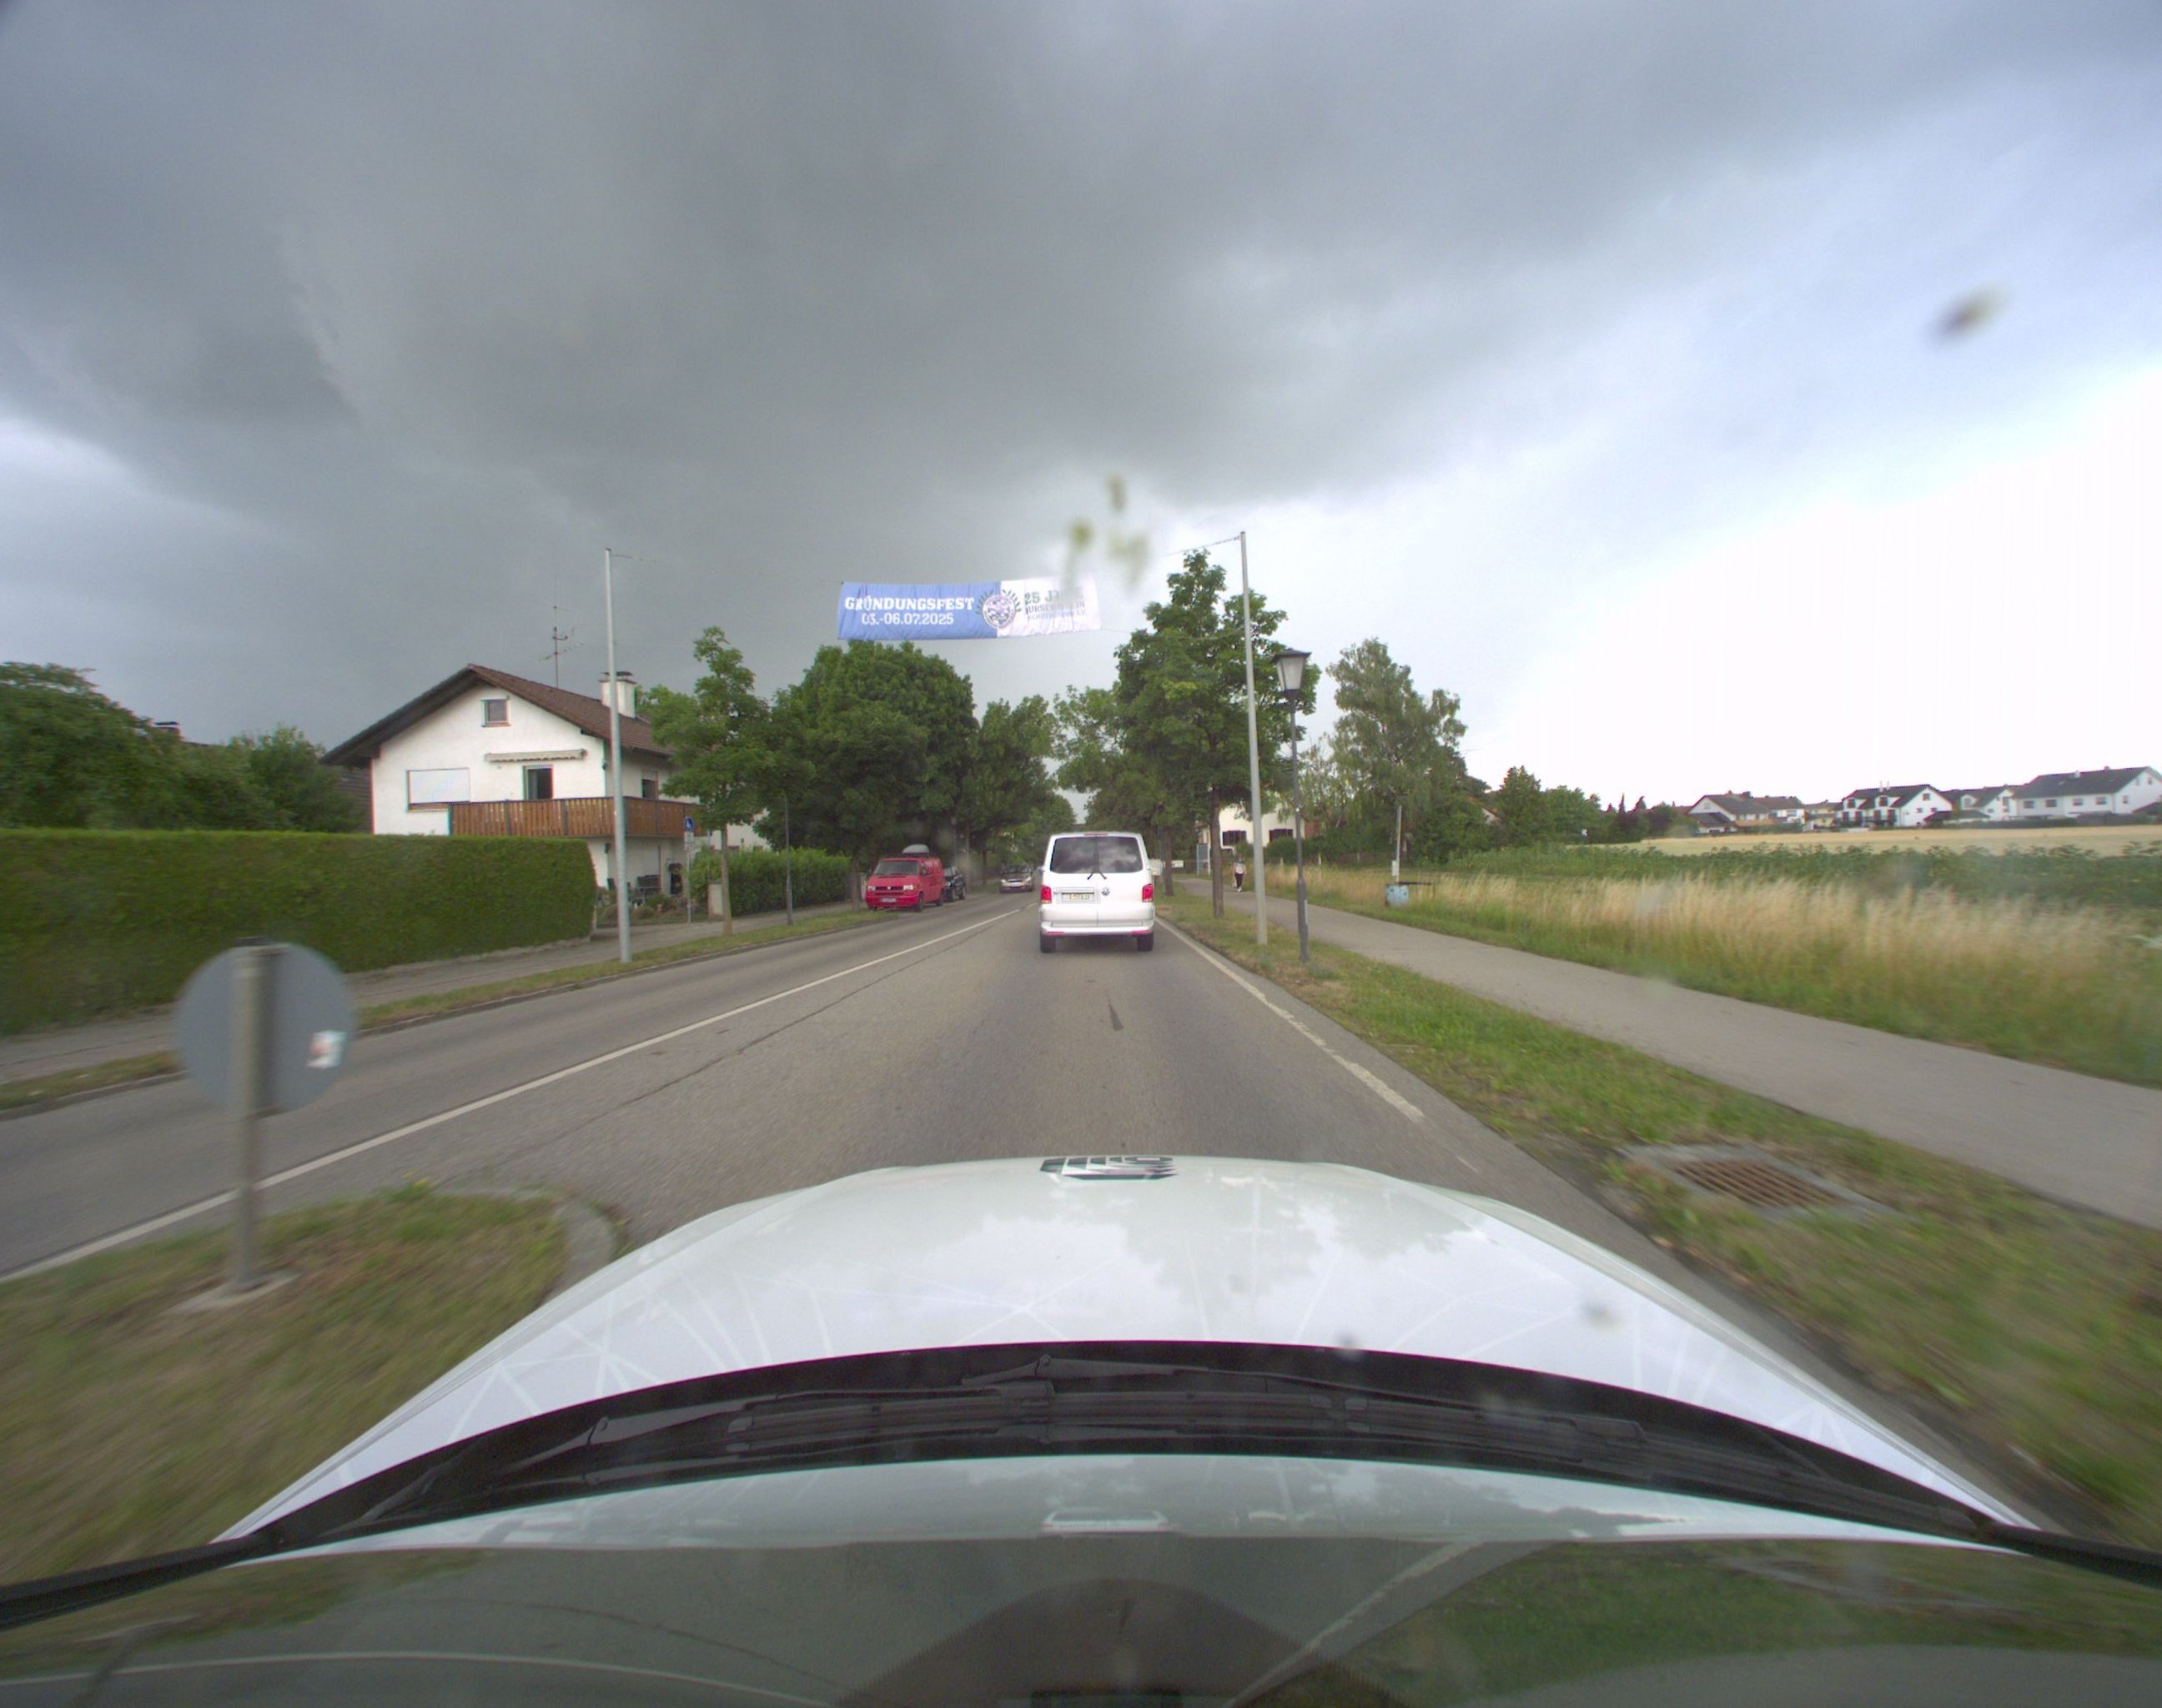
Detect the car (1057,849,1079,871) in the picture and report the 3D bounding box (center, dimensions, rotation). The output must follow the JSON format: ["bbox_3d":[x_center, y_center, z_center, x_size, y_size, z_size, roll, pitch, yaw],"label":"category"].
[{"bbox_3d":[-1.257,0.613,78.141,1.987,2.014,4.000,0,-1,1],"label":"car"}]

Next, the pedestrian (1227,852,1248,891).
[{"bbox_3d":[7.168,0.804,37.344,0.833,1.755,0.871,-1,-1,5],"label":"pedestrian"}]

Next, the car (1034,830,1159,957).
[{"bbox_3d":[0.255,0.627,14.490,1.881,1.912,4.000,-1,-1,0],"label":"car"}]

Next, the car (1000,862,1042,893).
[{"bbox_3d":[-3.228,1.259,44.705,1.699,1.532,3.511,-4,0,4],"label":"car"}]

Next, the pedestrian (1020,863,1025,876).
[{"bbox_3d":[-7.145,1.871,100.125,0.621,1.549,0.522,0,-1,-3],"label":"pedestrian"}]

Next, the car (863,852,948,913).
[{"bbox_3d":[-6.260,0.967,29.632,1.823,2.030,5.048,0,0,2],"label":"car"}]

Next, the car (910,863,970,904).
[{"bbox_3d":[-6.082,1.237,35.492,1.765,1.598,4.239,-1,0,1],"label":"car"}]
